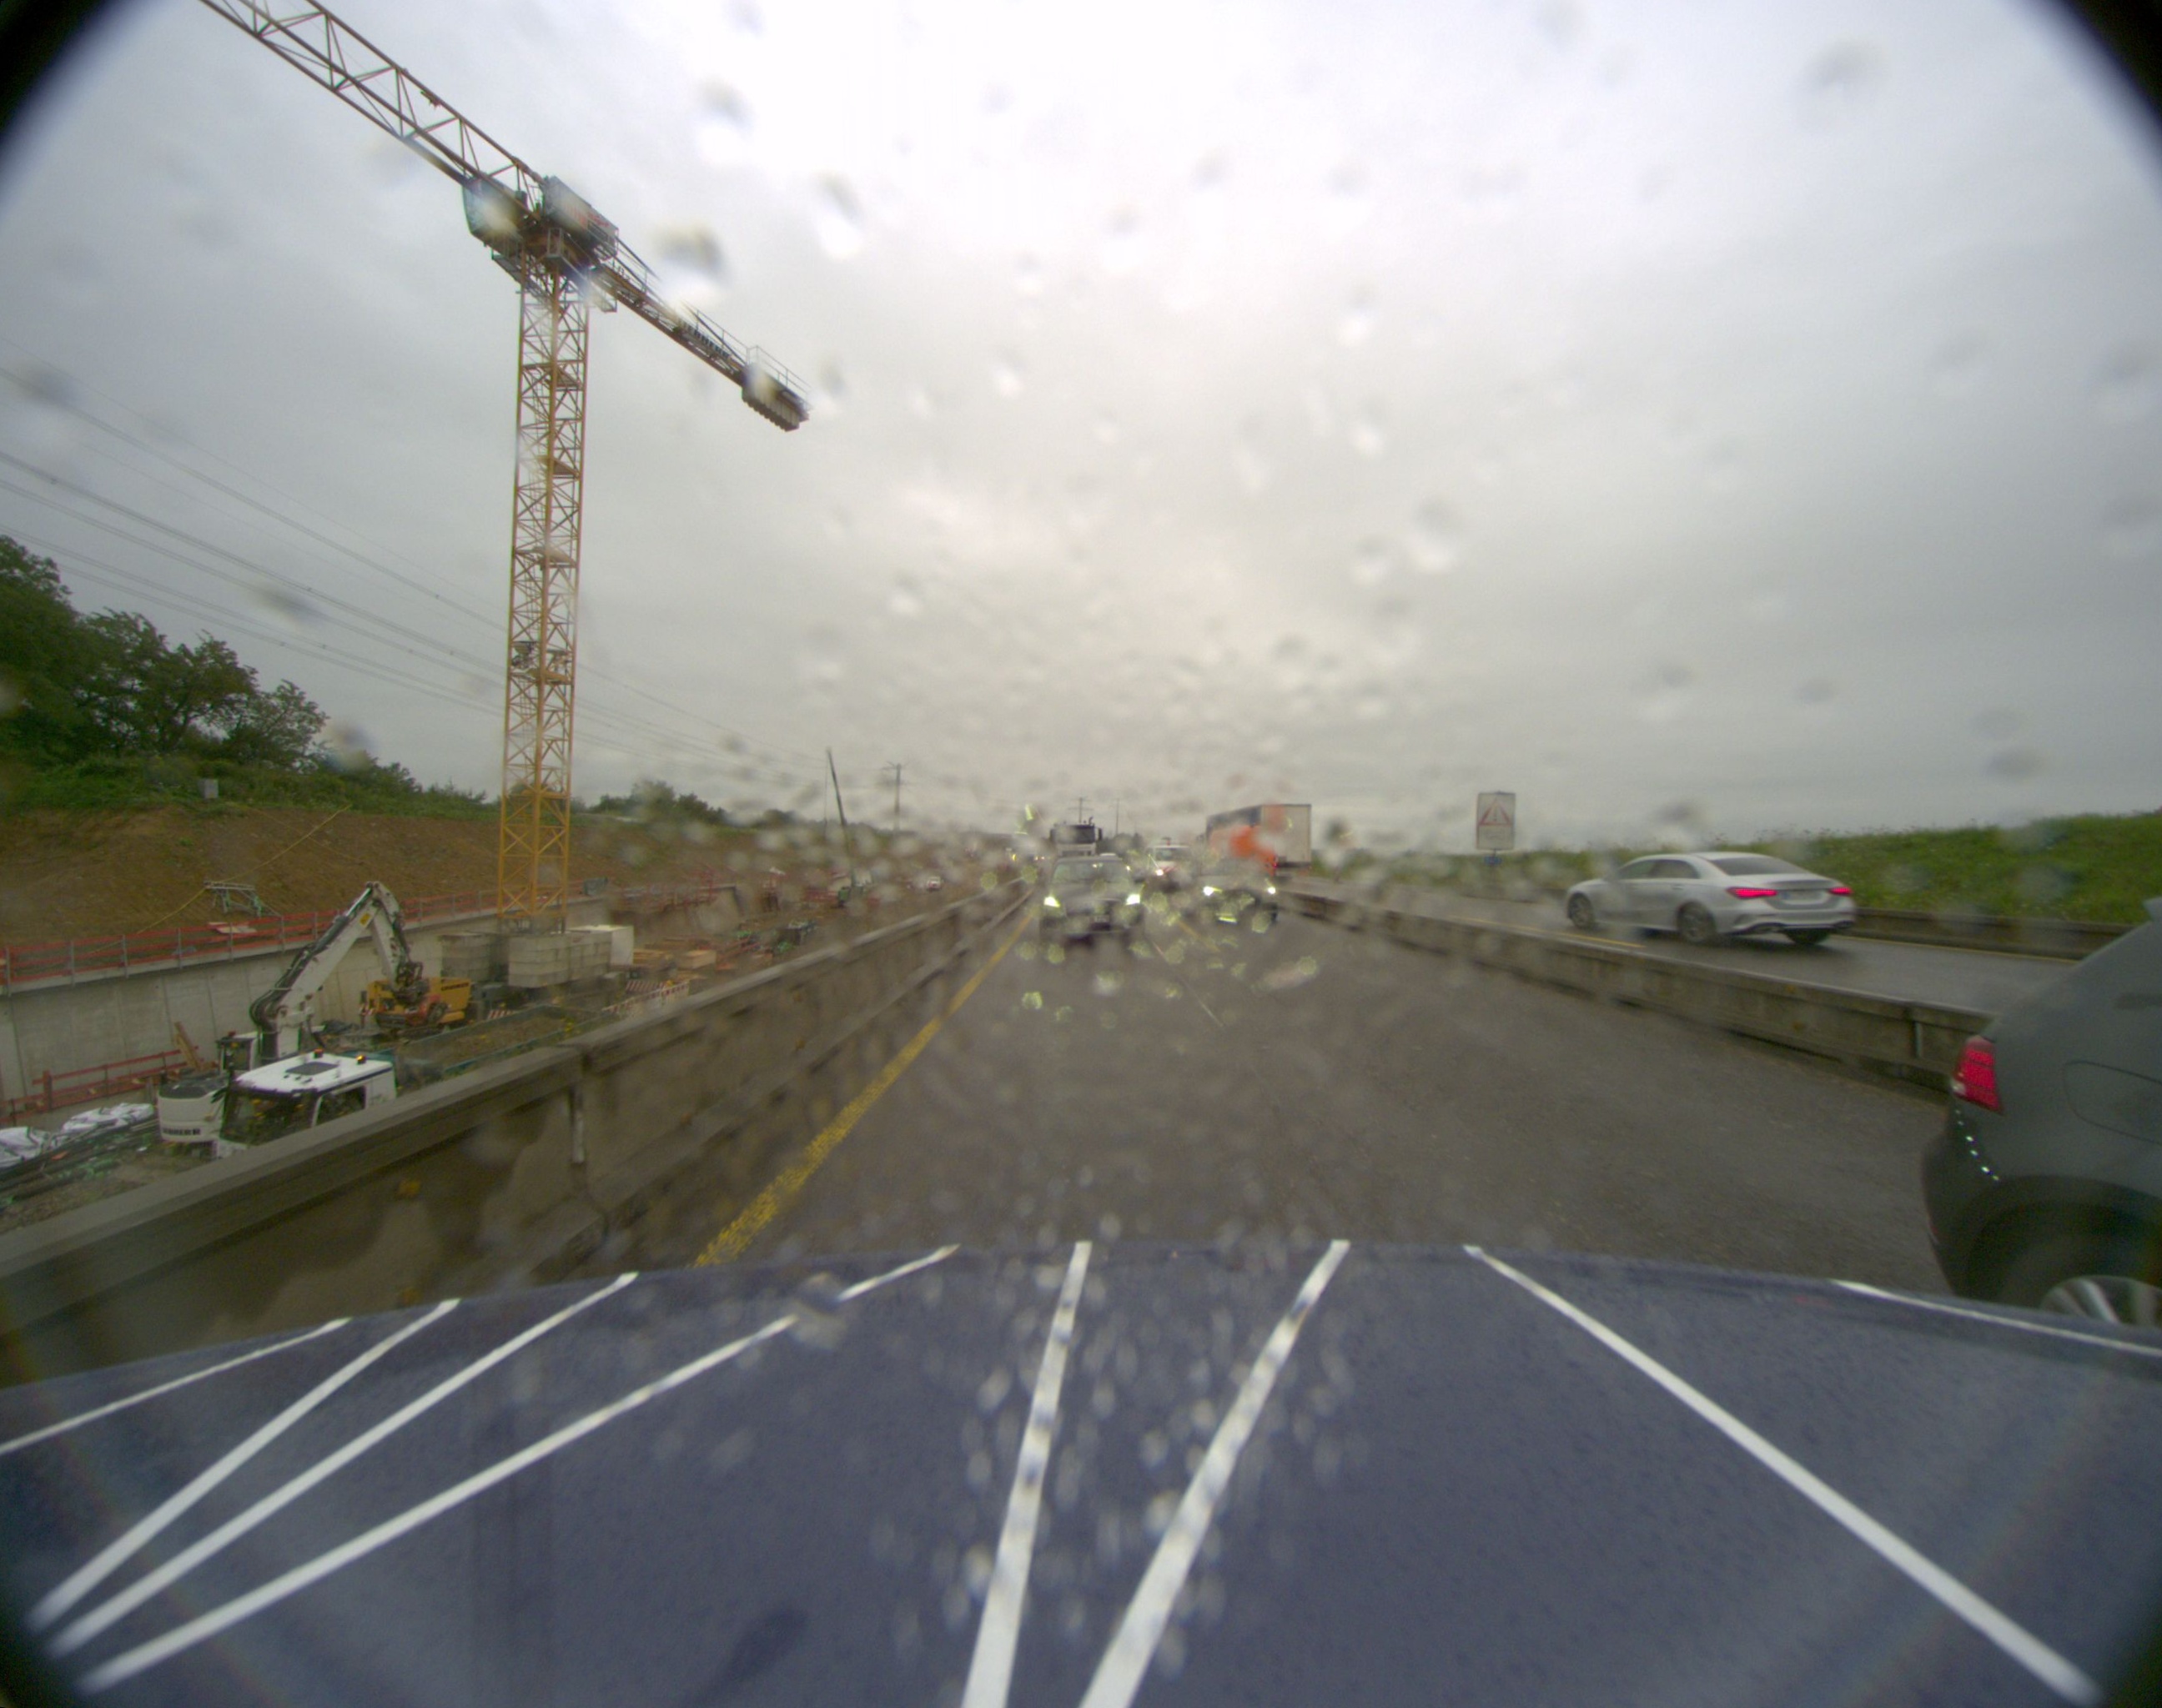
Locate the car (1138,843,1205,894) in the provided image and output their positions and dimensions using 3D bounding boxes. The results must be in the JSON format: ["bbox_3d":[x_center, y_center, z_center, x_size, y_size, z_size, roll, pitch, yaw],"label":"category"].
[{"bbox_3d":[3.625,0.526,31.484,2.161,1.848,5.178,-2,1,1],"label":"car"}]

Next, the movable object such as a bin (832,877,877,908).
[{"bbox_3d":[-25.508,4.325,85.883,3.803,2.790,4.848,-1,6,-5],"label":"movable object such as a bin"}]

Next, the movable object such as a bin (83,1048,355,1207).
[{"bbox_3d":[-20.988,6.593,18.729,3.157,2.722,2.968,-2,1,0],"label":"movable object such as a bin"}]

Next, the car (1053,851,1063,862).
[{"bbox_3d":[-4.216,0.421,139.446,1.800,1.851,4.285,-2,1,-2],"label":"car"}]

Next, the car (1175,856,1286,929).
[{"bbox_3d":[3.407,0.814,18.112,1.799,1.389,4.268,-2,1,1],"label":"car"}]

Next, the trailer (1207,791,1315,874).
[{"bbox_3d":[10.030,-1.005,44.335,2.787,4.011,13.740,-2,0,-1],"label":"trailer"}]

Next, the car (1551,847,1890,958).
[{"bbox_3d":[10.303,0.669,12.848,1.998,1.492,4.535,-2,0,2],"label":"car"}]

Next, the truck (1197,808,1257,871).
[{"bbox_3d":[9.898,-0.913,52.054,2.795,4.011,5.819,-2,0,-1],"label":"truck"}]

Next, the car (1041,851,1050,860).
[{"bbox_3d":[-7.439,0.307,158.257,1.800,1.851,4.285,-2,1,-1],"label":"car"}]

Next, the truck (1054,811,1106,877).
[{"bbox_3d":[-0.188,-0.647,47.145,2.837,3.617,9.117,-2,1,-2],"label":"truck"}]

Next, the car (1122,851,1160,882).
[{"bbox_3d":[3.340,0.670,42.808,1.799,1.521,4.067,-2,1,1],"label":"car"}]

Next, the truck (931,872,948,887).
[{"bbox_3d":[-20.832,3.761,111.648,1.767,1.860,5.783,0,1,-4],"label":"truck"}]

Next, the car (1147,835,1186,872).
[{"bbox_3d":[6.532,-0.022,58.820,2.011,2.638,6.884,-2,0,-1],"label":"car"}]

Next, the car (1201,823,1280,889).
[{"bbox_3d":[6.867,0.085,33.625,2.059,2.562,7.021,-2,0,1],"label":"car"}]

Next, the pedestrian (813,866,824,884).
[{"bbox_3d":[-34.154,2.737,98.737,0.918,2.234,1.005,-6,3,-7],"label":"pedestrian"}]

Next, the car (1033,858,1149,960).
[{"bbox_3d":[0.179,0.883,14.233,1.799,1.524,4.307,-2,0,1],"label":"car"}]

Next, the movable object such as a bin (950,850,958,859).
[{"bbox_3d":[-39.399,0.035,235.820,2.253,2.704,3.997,-2,1,-7],"label":"movable object such as a bin"}]

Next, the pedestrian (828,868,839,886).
[{"bbox_3d":[-33.284,3.077,102.161,0.917,2.219,1.005,-6,3,0],"label":"pedestrian"}]

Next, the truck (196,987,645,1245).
[{"bbox_3d":[-16.225,6.142,20.066,2.704,3.483,8.954,-1,1,12],"label":"truck"}]

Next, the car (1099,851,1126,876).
[{"bbox_3d":[2.534,0.741,61.862,1.800,1.851,4.285,-2,1,-2],"label":"car"}]
